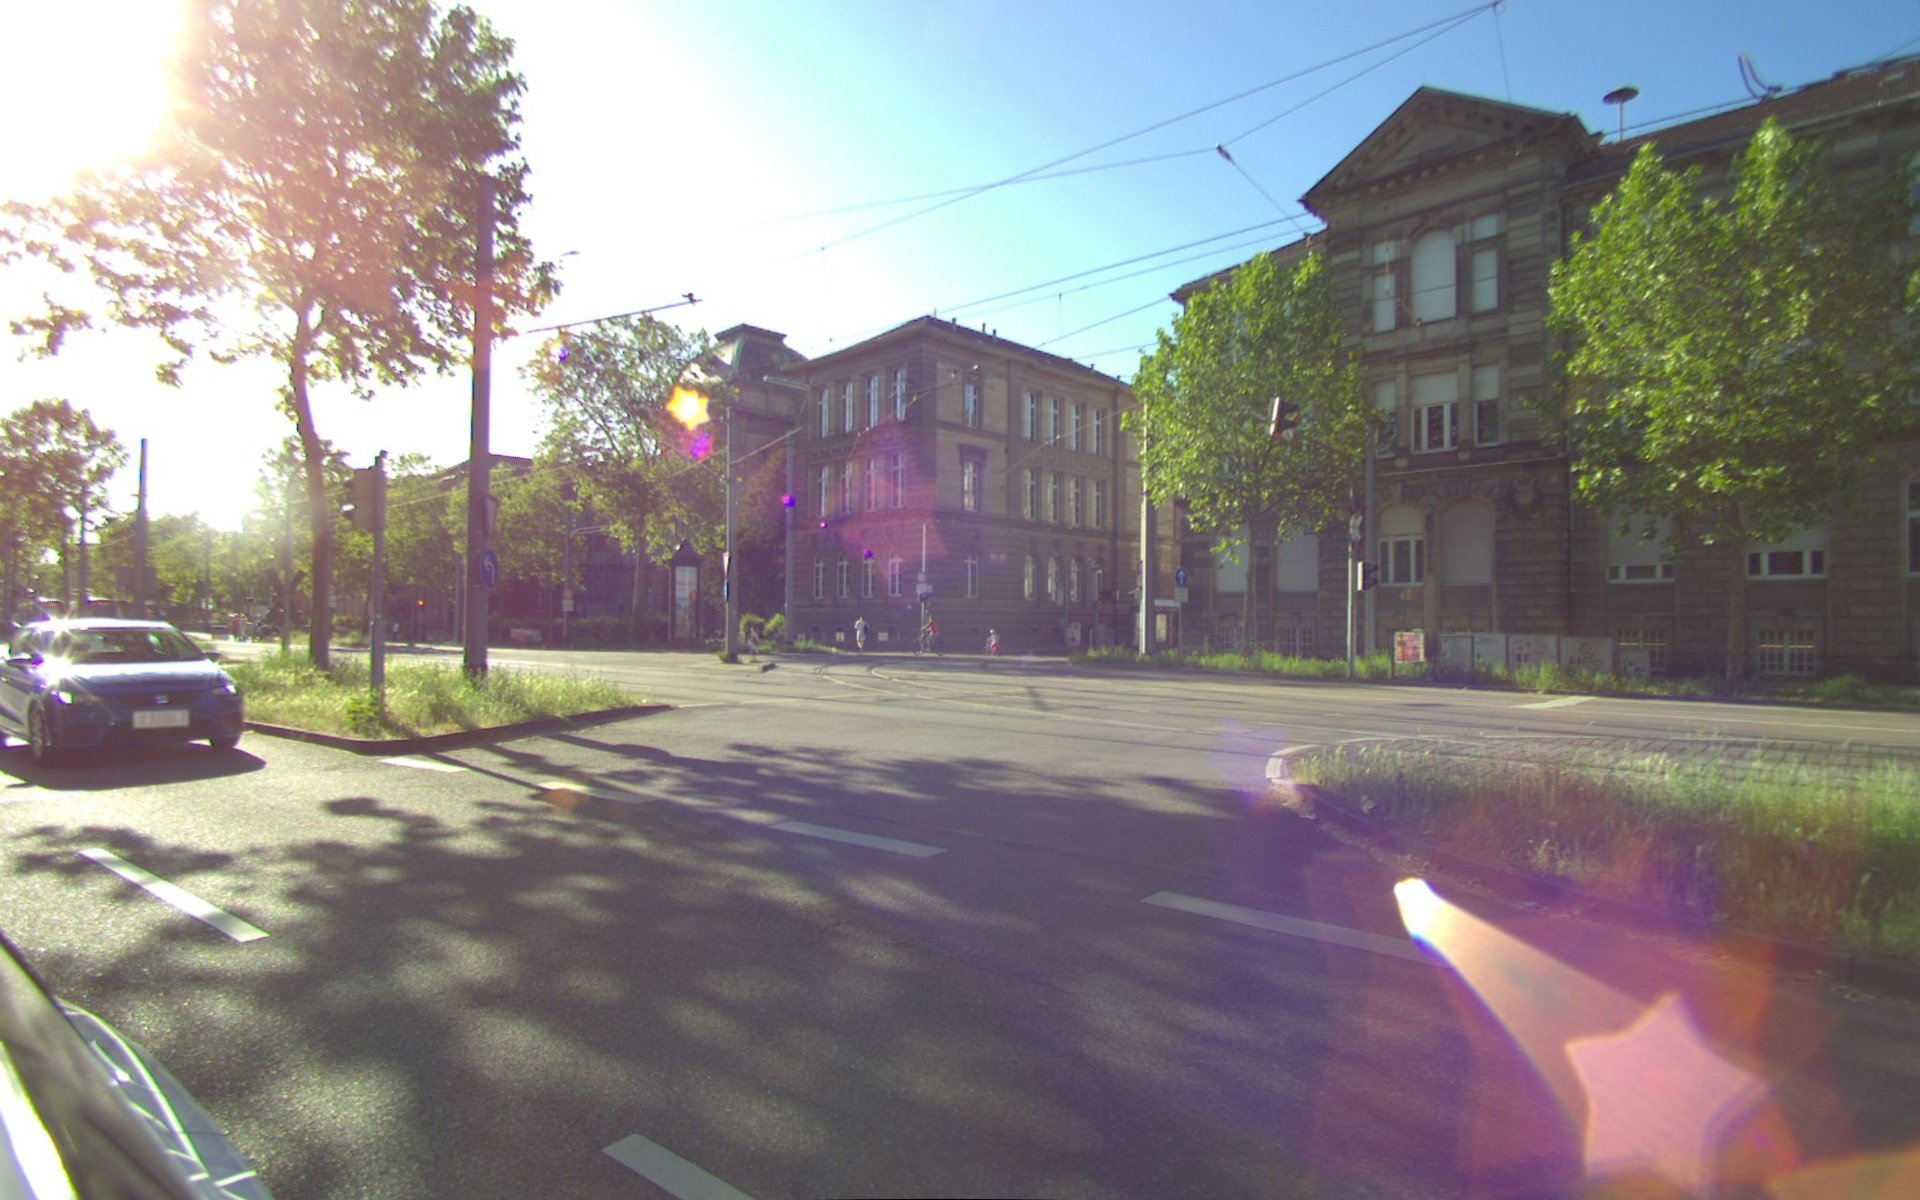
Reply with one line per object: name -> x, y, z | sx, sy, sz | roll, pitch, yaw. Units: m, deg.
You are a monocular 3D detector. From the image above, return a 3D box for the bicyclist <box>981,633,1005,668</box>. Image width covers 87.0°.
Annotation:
bicyclist -> 1.462, 2.229, 44.897 | 0.729, 1.473, 0.787 | -1, 0, 39

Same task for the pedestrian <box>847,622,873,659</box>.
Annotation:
pedestrian -> -5.029, 2.004, 50.947 | 0.852, 1.814, 1.003 | -1, 0, -45

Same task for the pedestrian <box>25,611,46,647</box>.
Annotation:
pedestrian -> -59.048, 1.842, 64.638 | 0.773, 2.204, 0.803 | -1, 0, -26

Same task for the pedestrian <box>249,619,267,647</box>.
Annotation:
pedestrian -> -43.673, 2.046, 62.924 | 0.692, 1.656, 0.593 | -1, 0, 8

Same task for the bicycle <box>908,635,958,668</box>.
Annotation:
bicycle -> -1.202, 2.255, 44.738 | 2.343, 1.400, 0.521 | -1, 0, 32

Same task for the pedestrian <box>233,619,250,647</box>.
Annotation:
pedestrian -> -45.221, 2.082, 63.703 | 0.693, 1.689, 0.592 | -1, 0, 12

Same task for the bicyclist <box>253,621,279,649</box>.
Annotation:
bicyclist -> -41.926, 2.107, 61.126 | 0.826, 1.656, 0.965 | -1, 0, 11

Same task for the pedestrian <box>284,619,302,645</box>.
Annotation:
pedestrian -> -41.832, 2.002, 63.453 | 0.693, 1.633, 0.592 | -1, 0, 12

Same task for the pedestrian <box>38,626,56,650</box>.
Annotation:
pedestrian -> -47.335, 1.960, 52.467 | 0.424, 1.242, 0.587 | -1, 0, 34

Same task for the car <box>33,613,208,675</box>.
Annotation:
car -> -23.552, 1.226, 28.447 | 3.818, 1.607, 1.663 | -1, 0, 8

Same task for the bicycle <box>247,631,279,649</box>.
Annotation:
bicycle -> -42.166, 2.400, 61.216 | 0.539, 1.049, 1.657 | 0, 0, 12

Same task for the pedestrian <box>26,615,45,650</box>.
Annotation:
pedestrian -> -48.067, 1.694, 52.632 | 0.503, 1.820, 0.639 | -1, 0, 37

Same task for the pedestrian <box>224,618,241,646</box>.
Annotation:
pedestrian -> -46.367, 2.025, 64.505 | 0.693, 1.758, 0.592 | -1, 0, 12

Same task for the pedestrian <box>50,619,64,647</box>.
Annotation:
pedestrian -> -54.517, 1.994, 61.093 | 0.571, 1.674, 0.668 | -1, 0, -37

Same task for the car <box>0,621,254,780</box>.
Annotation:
car -> -9.572, 0.988, 11.306 | 3.864, 1.459, 1.756 | -2, -2, 39

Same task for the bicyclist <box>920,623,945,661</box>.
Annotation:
bicyclist -> -1.209, 1.850, 44.713 | 0.868, 1.636, 0.669 | -1, -1, 31

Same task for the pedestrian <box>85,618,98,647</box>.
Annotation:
pedestrian -> -49.730, 1.850, 57.921 | 0.537, 1.674, 0.731 | -1, 0, -41

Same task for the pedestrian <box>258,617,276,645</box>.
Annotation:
pedestrian -> -43.893, 1.989, 64.100 | 0.693, 1.749, 0.592 | -1, 0, 12

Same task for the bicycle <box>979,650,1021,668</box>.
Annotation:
bicycle -> 1.755, 2.600, 44.641 | 1.898, 0.727, 0.520 | -1, 0, 37

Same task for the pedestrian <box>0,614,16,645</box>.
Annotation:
pedestrian -> -61.732, 1.909, 65.607 | 0.701, 2.029, 0.787 | -1, 0, -45
